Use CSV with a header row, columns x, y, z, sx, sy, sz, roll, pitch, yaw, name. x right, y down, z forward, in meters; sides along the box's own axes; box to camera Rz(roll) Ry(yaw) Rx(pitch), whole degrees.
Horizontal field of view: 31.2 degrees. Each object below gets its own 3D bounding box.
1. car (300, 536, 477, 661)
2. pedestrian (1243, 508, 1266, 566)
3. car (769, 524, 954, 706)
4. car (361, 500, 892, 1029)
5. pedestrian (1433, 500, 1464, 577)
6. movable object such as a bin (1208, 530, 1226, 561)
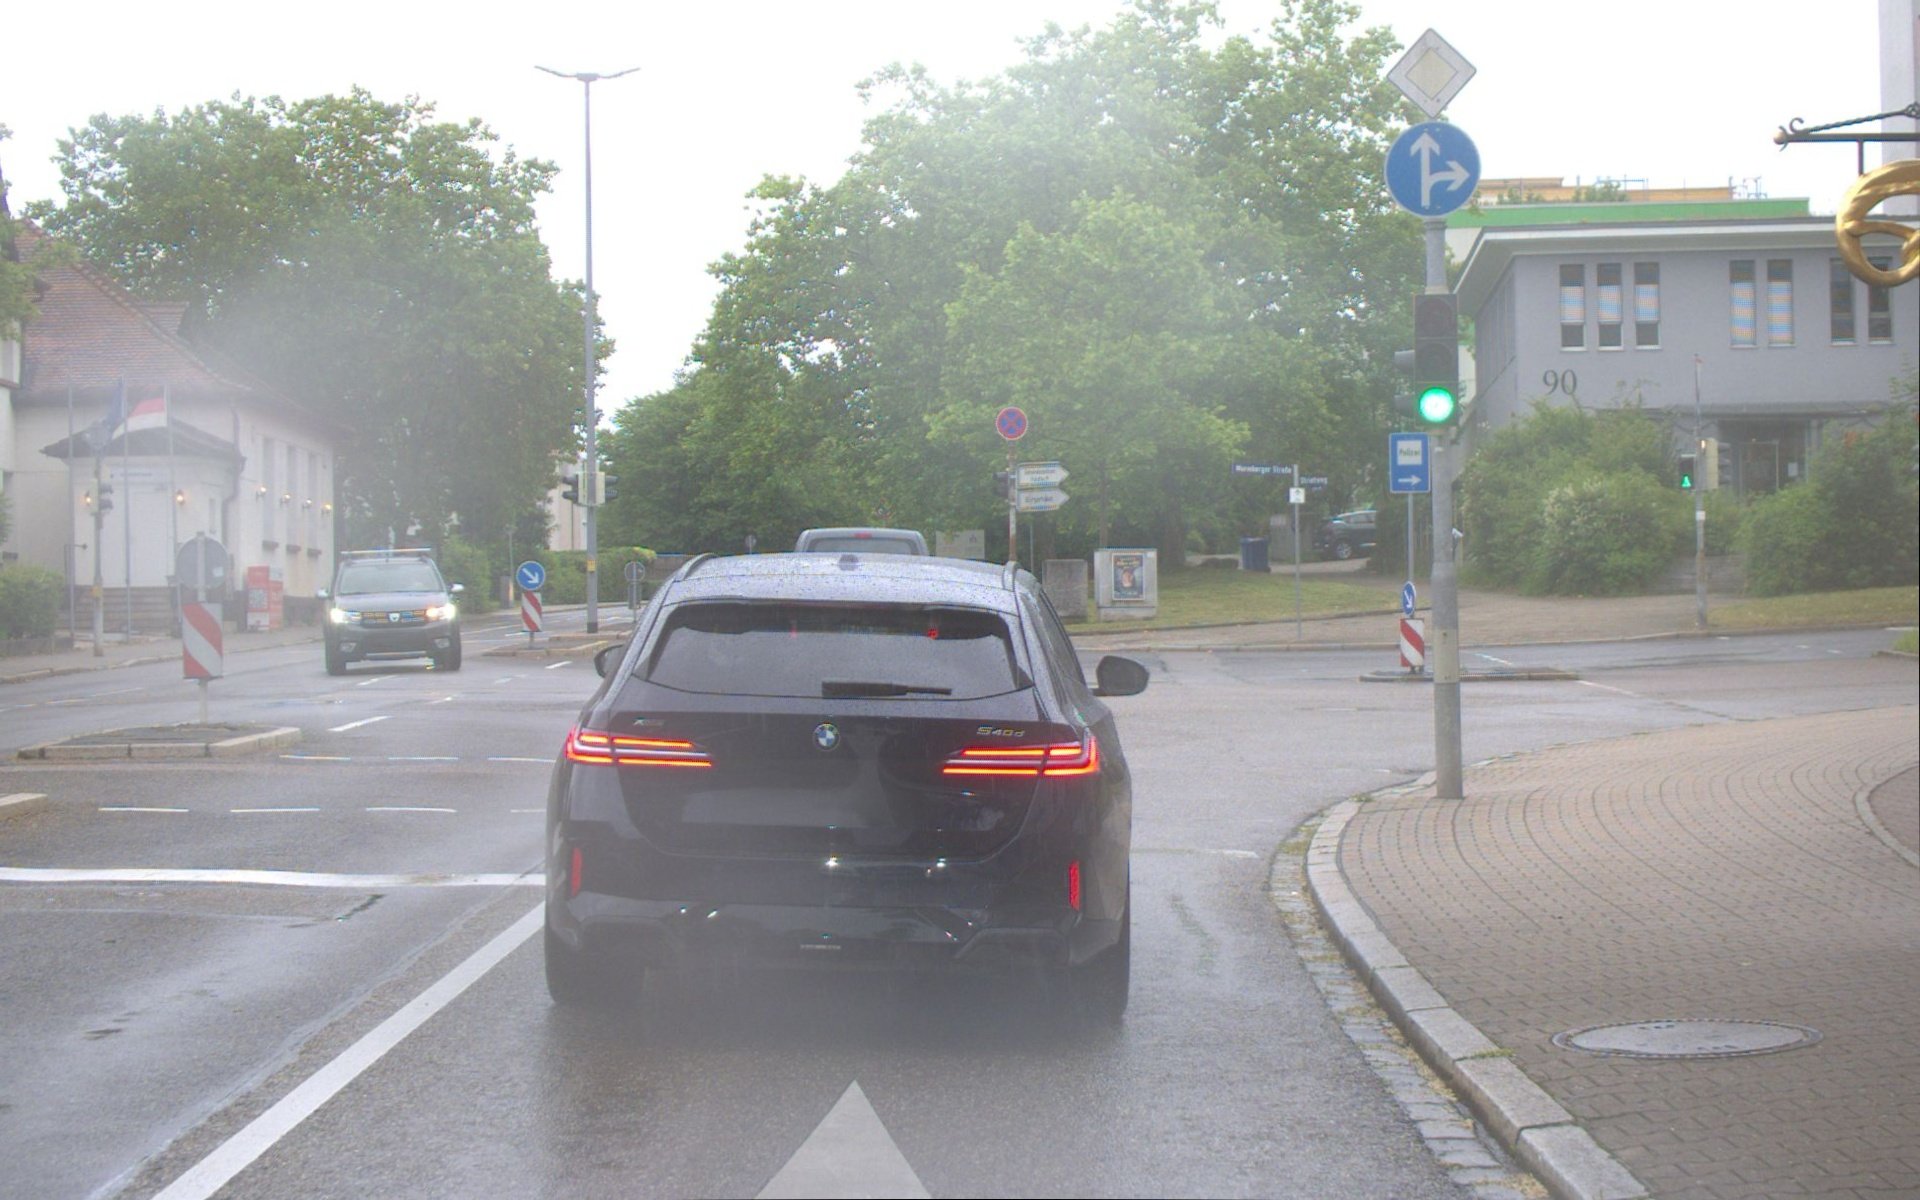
x,y,z,sx,sy,sz,roll,pitch,yaw,name
-7.703,-0.062,46.692,1.898,1.572,4.503,-1,1,-3,car
8.989,-1.915,105.047,0.557,1.757,0.728,1,0,-5,pedestrian
-1.097,0.142,36.512,1.812,1.802,3.757,1,0,-3,car
-1.082,0.479,11.868,1.523,1.529,3.532,1,0,-3,car
10.385,-1.298,73.074,0.601,1.611,0.525,1,0,6,pedestrian
7.563,-1.600,101.125,0.450,0.902,0.462,1,0,15,movable object such as a bin
